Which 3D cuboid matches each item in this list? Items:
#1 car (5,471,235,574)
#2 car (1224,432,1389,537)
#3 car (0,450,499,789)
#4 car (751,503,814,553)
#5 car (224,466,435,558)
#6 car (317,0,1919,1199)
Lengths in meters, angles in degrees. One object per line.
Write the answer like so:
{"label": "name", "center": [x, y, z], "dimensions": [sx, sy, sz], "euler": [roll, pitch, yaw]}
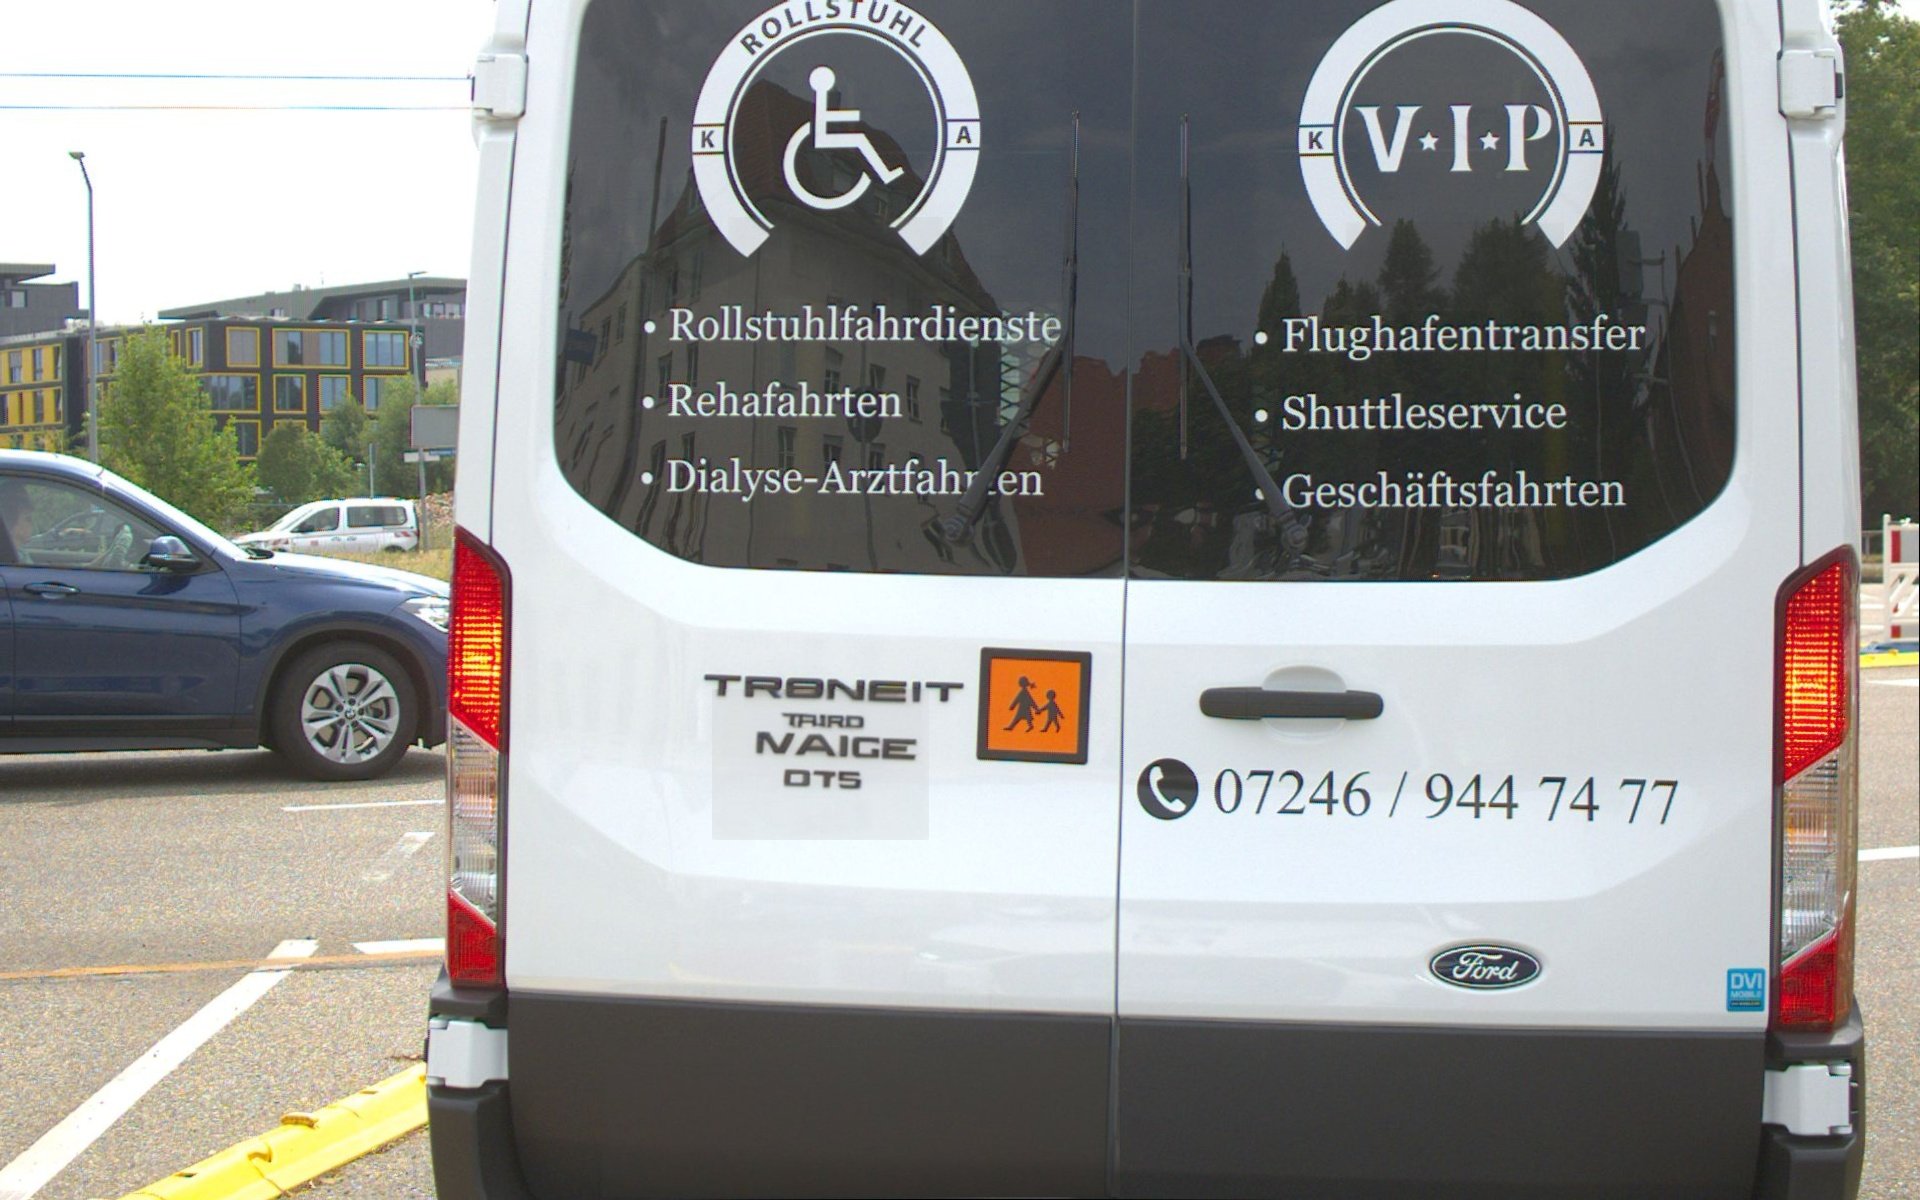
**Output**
{"label": "car", "center": [-16.751, -1.533, 68.617], "dimensions": [3.990, 2.007, 1.998], "euler": [0, 0, 16]}
{"label": "car", "center": [7.747, -2.585, 77.220], "dimensions": [2.024, 2.271, 4.161], "euler": [-1, 2, -21]}
{"label": "car", "center": [-4.542, 0.068, 16.417], "dimensions": [4.356, 1.528, 1.733], "euler": [-1, 2, -20]}
{"label": "car", "center": [-5.325, -2.142, 102.924], "dimensions": [1.827, 1.458, 4.001], "euler": [0, 1, -3]}
{"label": "car", "center": [-14.355, -1.976, 78.283], "dimensions": [4.347, 2.007, 2.000], "euler": [0, 0, -26]}
{"label": "car", "center": [0.516, 0.040, 7.106], "dimensions": [2.127, 2.688, 5.631], "euler": [0, 1, 6]}
